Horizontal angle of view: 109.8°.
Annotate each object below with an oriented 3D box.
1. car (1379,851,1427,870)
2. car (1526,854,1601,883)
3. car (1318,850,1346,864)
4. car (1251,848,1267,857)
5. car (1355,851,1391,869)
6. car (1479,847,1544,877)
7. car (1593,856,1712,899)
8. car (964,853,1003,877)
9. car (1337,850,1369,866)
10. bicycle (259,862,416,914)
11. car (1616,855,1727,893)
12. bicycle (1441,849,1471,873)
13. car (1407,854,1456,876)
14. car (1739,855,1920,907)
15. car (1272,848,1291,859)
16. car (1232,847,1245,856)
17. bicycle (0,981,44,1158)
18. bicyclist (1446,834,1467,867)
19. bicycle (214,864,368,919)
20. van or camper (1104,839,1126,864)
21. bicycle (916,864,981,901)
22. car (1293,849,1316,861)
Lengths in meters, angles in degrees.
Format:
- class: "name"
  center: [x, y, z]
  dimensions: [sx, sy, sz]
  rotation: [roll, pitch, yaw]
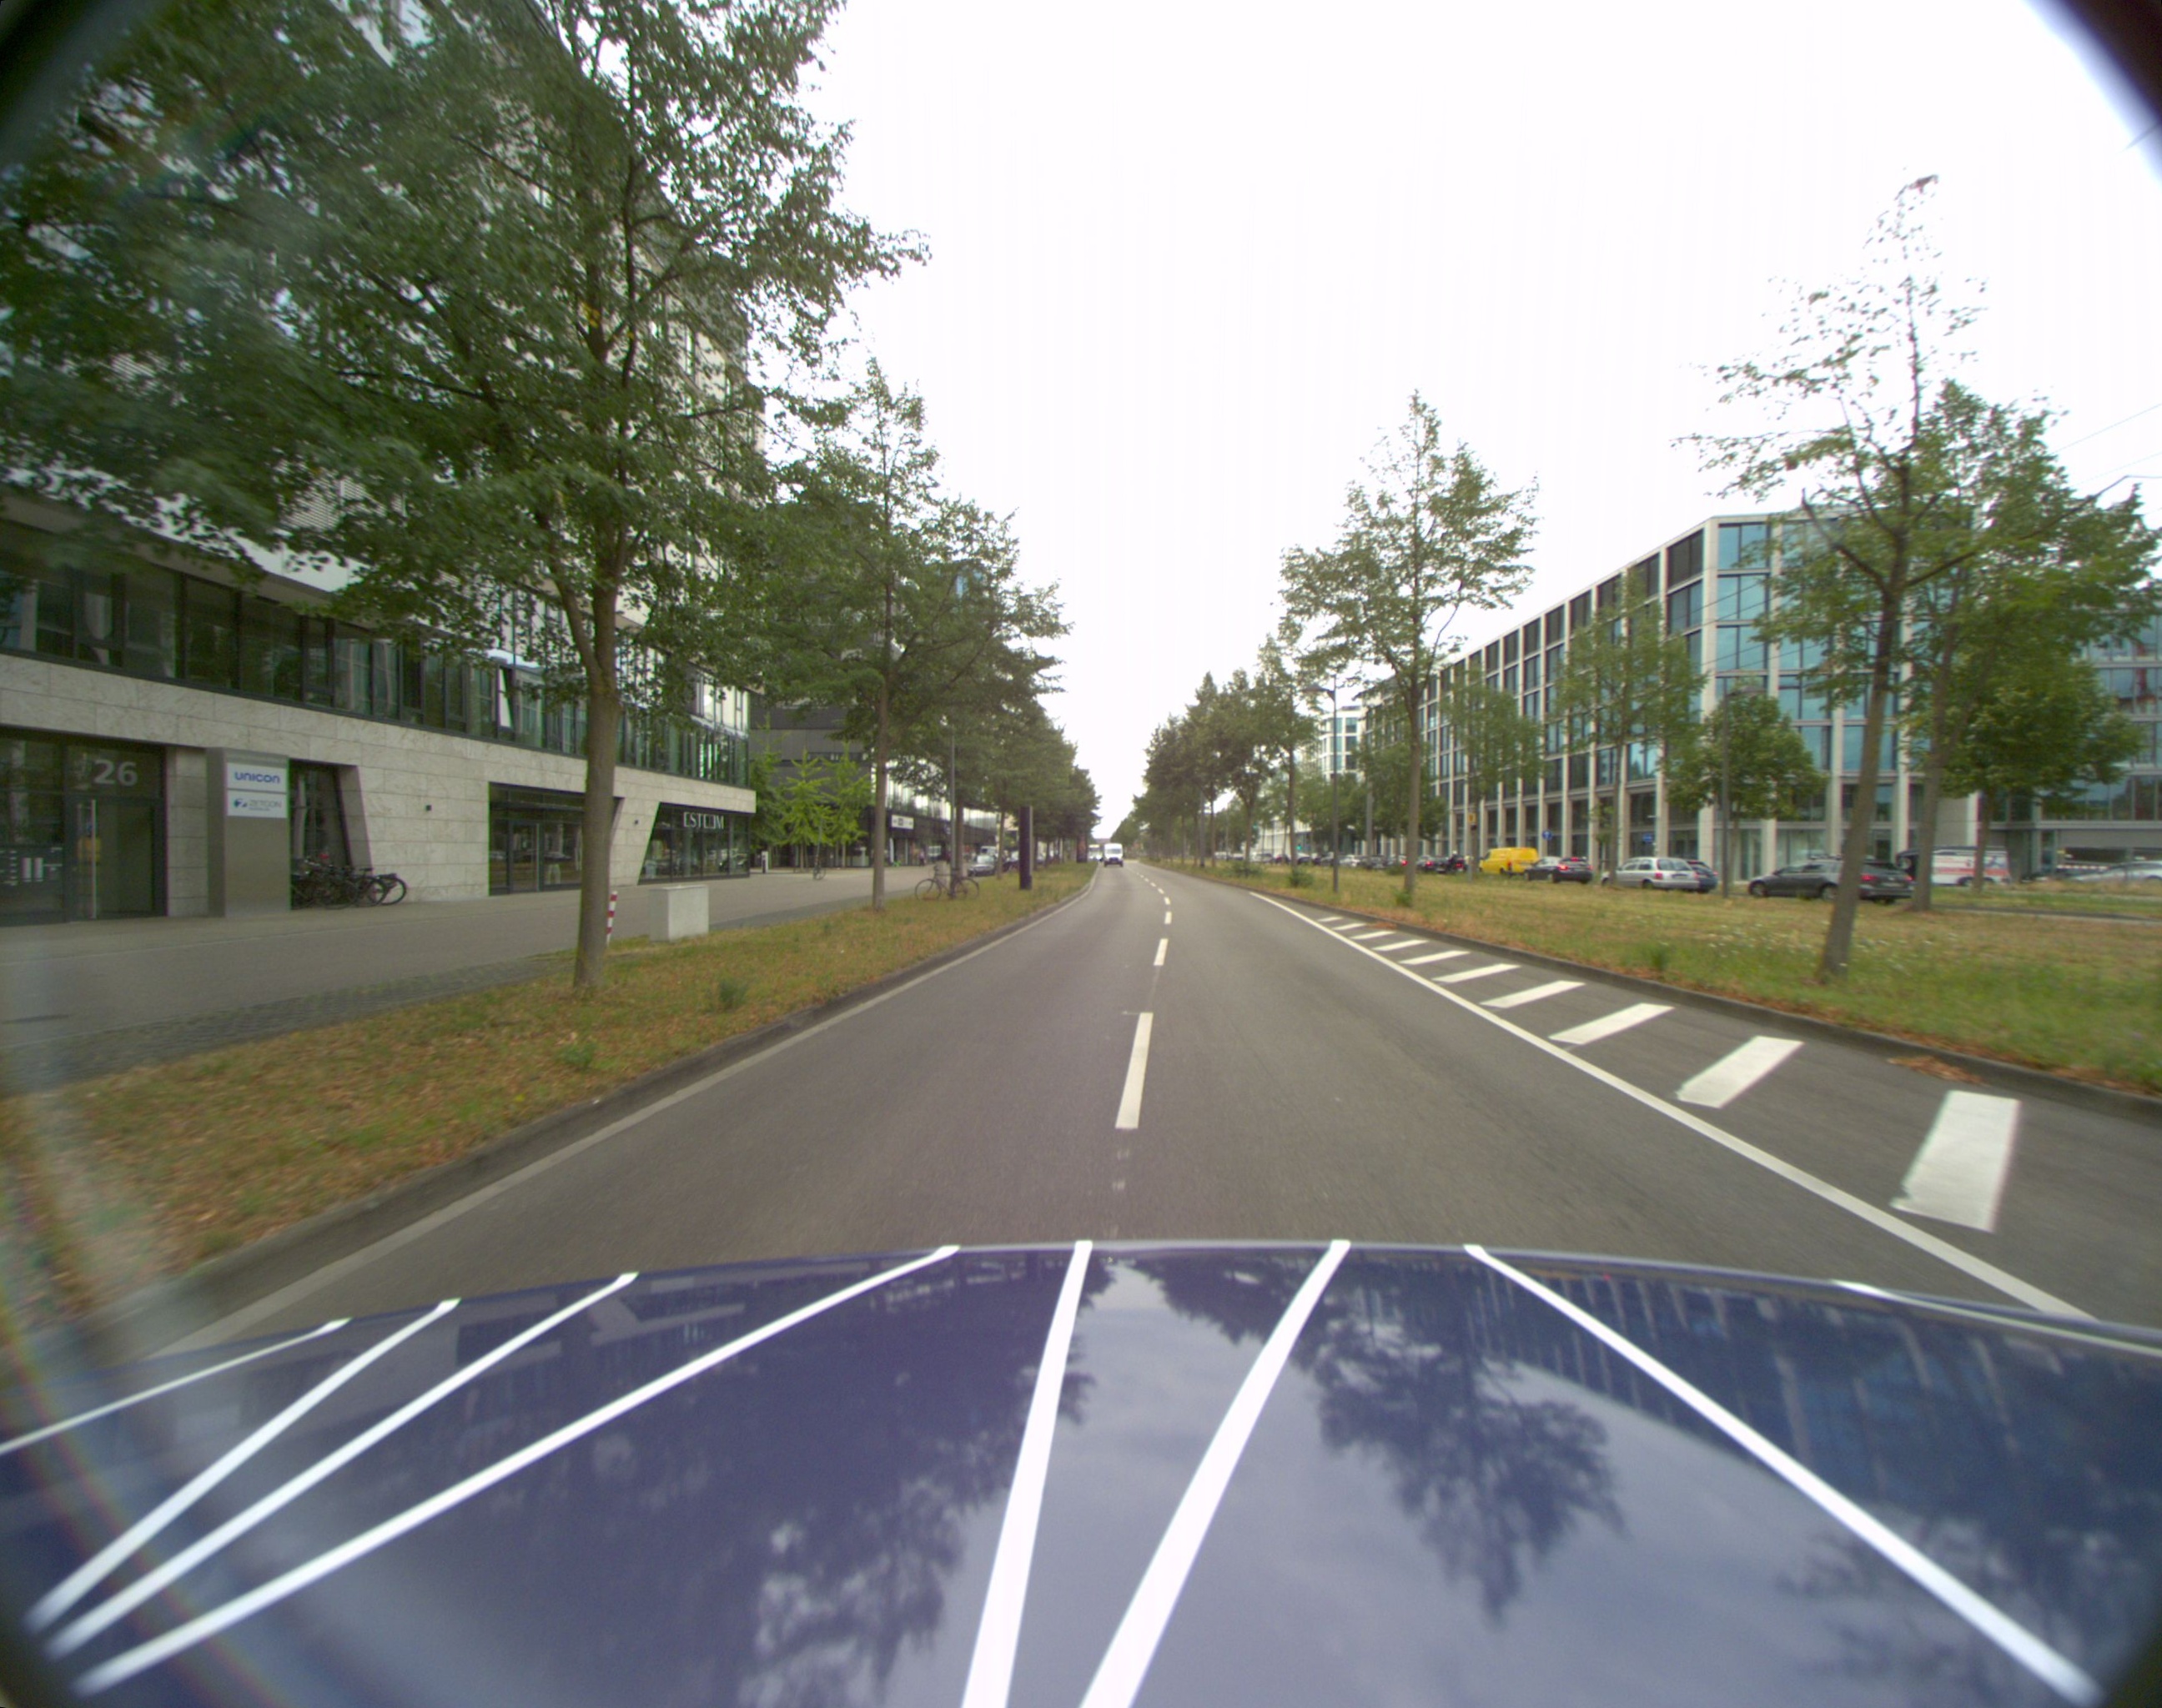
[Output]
- class: "car"
  center: [24.372, 0.461, 57.616]
  dimensions: [1.998, 1.410, 4.000]
  rotation: [0, 0, 1]
- class: "car"
  center: [25.809, 0.767, 40.790]
  dimensions: [1.752, 1.448, 3.866]
  rotation: [0, 0, 4]
- class: "car"
  center: [25.664, 0.297, 77.656]
  dimensions: [1.752, 1.448, 3.865]
  rotation: [0, 0, 3]
- class: "car"
  center: [27.313, -0.238, 116.622]
  dimensions: [1.752, 1.448, 3.865]
  rotation: [0, 0, 3]
- class: "car"
  center: [25.175, 0.480, 65.601]
  dimensions: [1.752, 1.448, 3.865]
  rotation: [0, 0, 3]
- class: "car"
  center: [27.075, 0.473, 47.949]
  dimensions: [1.956, 1.761, 4.446]
  rotation: [0, 0, 6]
- class: "car"
  center: [21.754, 0.837, 29.127]
  dimensions: [1.752, 1.488, 3.865]
  rotation: [0, 0, 2]
- class: "car"
  center: [-6.317, 0.676, 49.751]
  dimensions: [1.954, 1.521, 4.000]
  rotation: [0, 0, 1]
- class: "car"
  center: [25.642, 0.379, 71.701]
  dimensions: [1.752, 1.448, 3.865]
  rotation: [0, 0, 3]
- class: "bicycle"
  center: [-17.610, 0.794, 18.065]
  dimensions: [2.425, 1.170, 1.202]
  rotation: [0, 1, -6]
- class: "car"
  center: [24.778, 0.784, 32.091]
  dimensions: [1.752, 1.488, 3.865]
  rotation: [0, 0, 2]
- class: "bicycle"
  center: [23.705, 0.426, 48.105]
  dimensions: [0.711, 1.479, 2.358]
  rotation: [-2, 0, 0]
- class: "car"
  center: [24.033, 0.704, 52.220]
  dimensions: [1.752, 1.448, 3.866]
  rotation: [0, 0, 4]
- class: "car"
  center: [24.570, 0.828, 25.197]
  dimensions: [1.753, 1.520, 4.279]
  rotation: [0, 0, 0]
- class: "car"
  center: [27.332, -0.085, 103.898]
  dimensions: [1.752, 1.448, 3.865]
  rotation: [0, 0, 3]
- class: "car"
  center: [27.062, -0.438, 130.701]
  dimensions: [1.752, 1.448, 3.865]
  rotation: [0, 0, 3]
- class: "bicycle"
  center: [-5.862, 1.129, 2.956]
  dimensions: [0.634, 0.871, 2.116]
  rotation: [-2, 1, 4]
- class: "bicyclist"
  center: [23.722, -0.217, 47.990]
  dimensions: [0.742, 2.002, 0.995]
  rotation: [-2, 1, -1]
- class: "bicycle"
  center: [-17.442, 0.808, 16.833]
  dimensions: [2.238, 1.170, 0.975]
  rotation: [0, 1, -6]
- class: "van or camper"
  center: [3.666, -0.284, 82.726]
  dimensions: [2.183, 2.494, 6.339]
  rotation: [-1, 0, 1]
- class: "bicycle"
  center: [-3.710, 0.790, 21.278]
  dimensions: [1.790, 1.013, 0.422]
  rotation: [0, 1, -13]
- class: "car"
  center: [26.641, 0.102, 90.739]
  dimensions: [1.752, 1.448, 3.865]
  rotation: [0, 0, 3]
